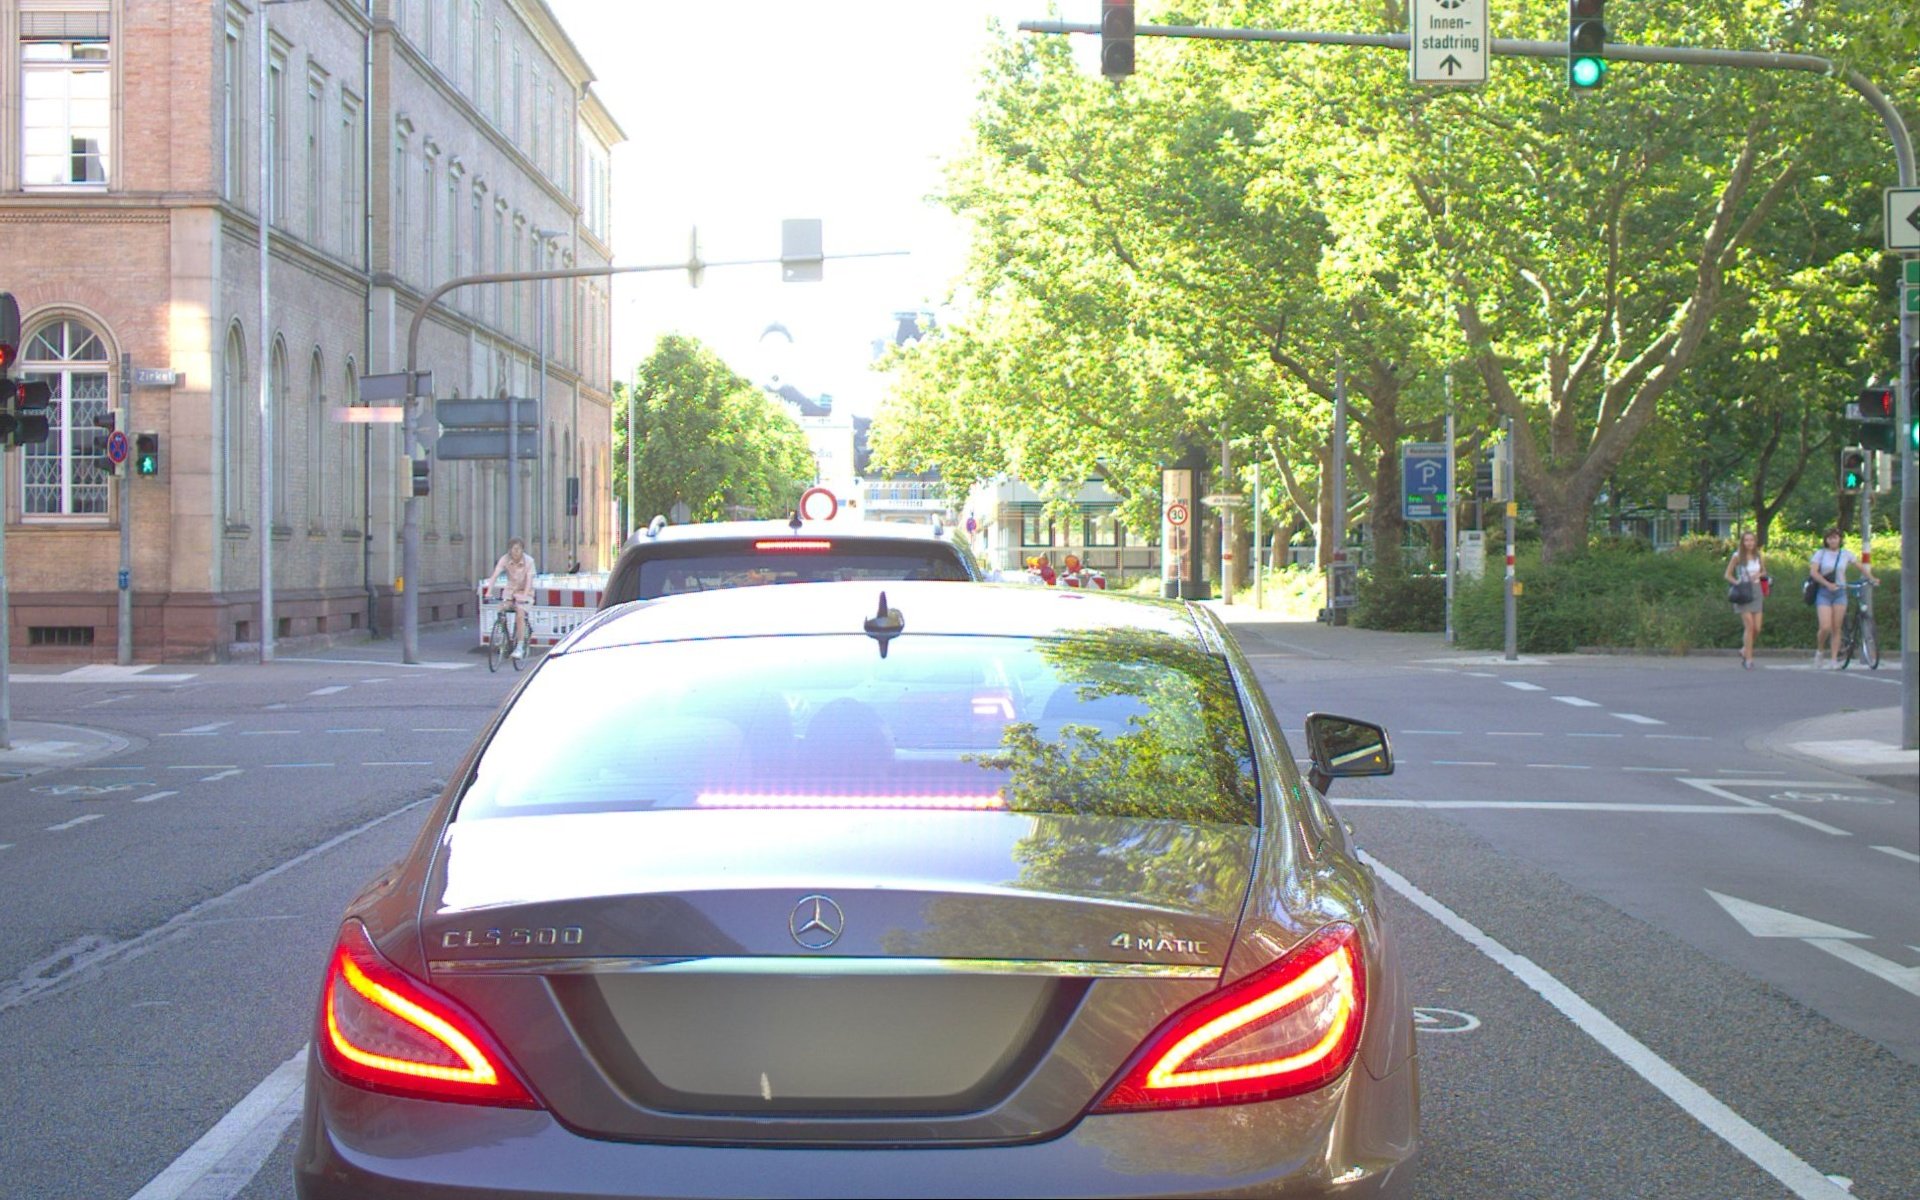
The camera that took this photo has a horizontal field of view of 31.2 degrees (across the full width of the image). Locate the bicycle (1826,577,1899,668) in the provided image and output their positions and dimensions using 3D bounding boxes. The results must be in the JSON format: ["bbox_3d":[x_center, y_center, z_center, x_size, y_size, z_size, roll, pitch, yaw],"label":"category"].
[{"bbox_3d":[11.224,0.267,42.795,0.524,1.096,1.741,1,1,3],"label":"bicycle"}]

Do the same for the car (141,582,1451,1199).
[{"bbox_3d":[-0.045,0.697,7.073,1.843,1.424,4.516,1,1,5],"label":"car"}]

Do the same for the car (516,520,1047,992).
[{"bbox_3d":[-0.575,0.515,13.735,1.809,1.607,4.000,0,1,1],"label":"car"}]

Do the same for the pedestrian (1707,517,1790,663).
[{"bbox_3d":[9.838,-0.123,42.908,0.732,1.802,0.909,-1,-1,-6],"label":"pedestrian"}]

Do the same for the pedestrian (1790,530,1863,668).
[{"bbox_3d":[10.792,-0.015,42.842,0.683,1.691,0.970,1,0,3],"label":"pedestrian"}]

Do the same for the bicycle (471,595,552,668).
[{"bbox_3d":[-5.673,0.391,43.587,0.548,0.888,1.867,1,1,7],"label":"bicycle"}]

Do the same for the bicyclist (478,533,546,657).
[{"bbox_3d":[-5.682,-0.071,43.621,0.648,1.553,0.806,1,0,8],"label":"bicyclist"}]
